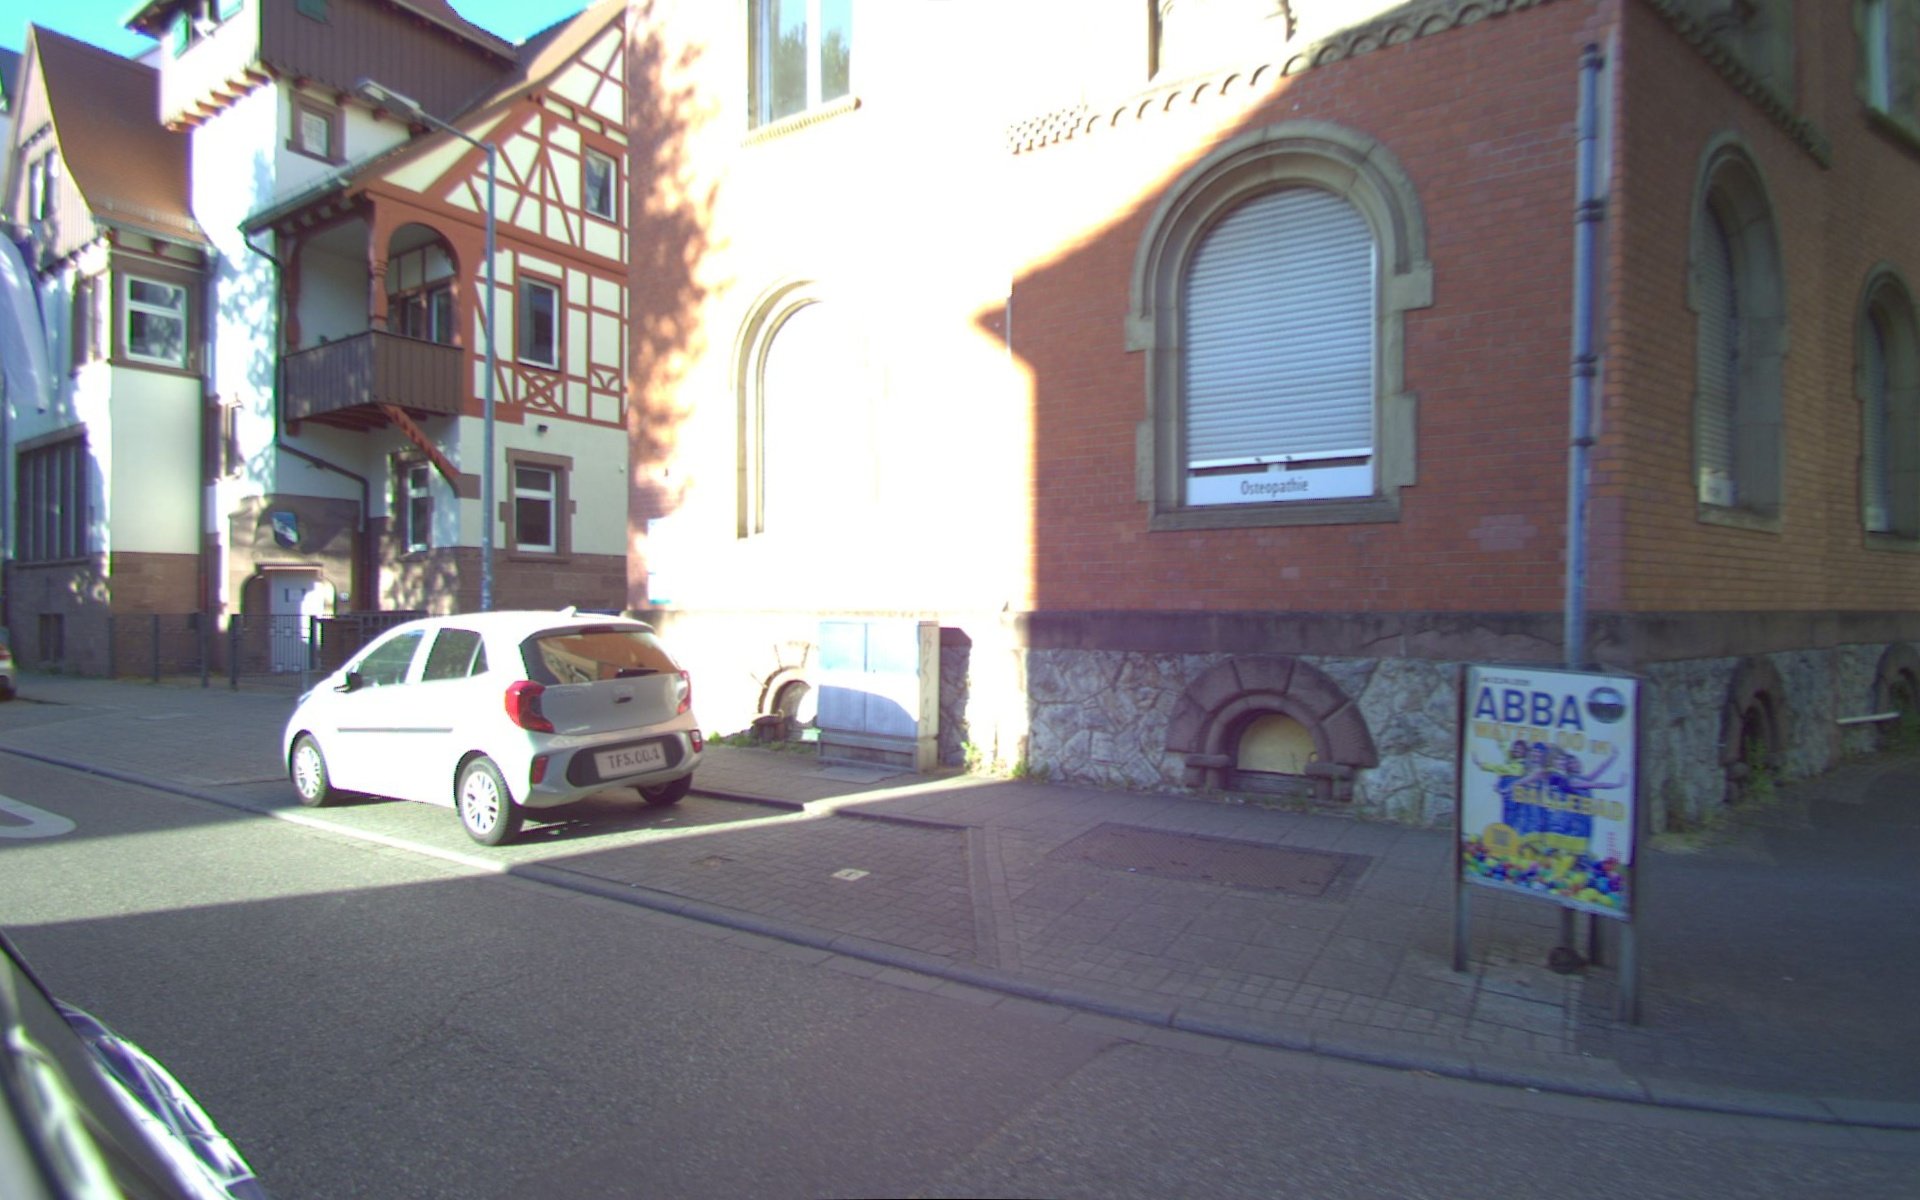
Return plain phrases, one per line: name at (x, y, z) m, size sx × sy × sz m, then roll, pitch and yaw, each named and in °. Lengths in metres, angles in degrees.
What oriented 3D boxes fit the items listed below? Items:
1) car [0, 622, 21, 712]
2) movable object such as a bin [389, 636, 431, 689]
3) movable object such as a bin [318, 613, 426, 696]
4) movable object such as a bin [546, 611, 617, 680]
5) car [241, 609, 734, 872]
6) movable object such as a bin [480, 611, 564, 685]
car at (-18.019, 1.141, 17.416) m, size 4.089 × 1.477 × 1.731 m, roll -1°, pitch 0°, yaw 32°
movable object such as a bin at (-9.773, 1.098, 17.971) m, size 0.673 × 0.885 × 0.475 m, roll -1°, pitch -1°, yaw 43°
movable object such as a bin at (-9.890, 0.879, 17.044) m, size 0.968 × 1.309 × 1.361 m, roll -1°, pitch -1°, yaw 43°
movable object such as a bin at (-7.580, 0.886, 20.299) m, size 0.629 × 1.320 × 1.191 m, roll -1°, pitch -1°, yaw 35°
car at (-3.691, 0.852, 7.734) m, size 3.787 × 1.496 × 1.691 m, roll -1°, pitch 1°, yaw 34°
movable object such as a bin at (-8.317, 0.888, 19.263) m, size 0.683 × 1.327 × 1.372 m, roll -1°, pitch 0°, yaw 26°
